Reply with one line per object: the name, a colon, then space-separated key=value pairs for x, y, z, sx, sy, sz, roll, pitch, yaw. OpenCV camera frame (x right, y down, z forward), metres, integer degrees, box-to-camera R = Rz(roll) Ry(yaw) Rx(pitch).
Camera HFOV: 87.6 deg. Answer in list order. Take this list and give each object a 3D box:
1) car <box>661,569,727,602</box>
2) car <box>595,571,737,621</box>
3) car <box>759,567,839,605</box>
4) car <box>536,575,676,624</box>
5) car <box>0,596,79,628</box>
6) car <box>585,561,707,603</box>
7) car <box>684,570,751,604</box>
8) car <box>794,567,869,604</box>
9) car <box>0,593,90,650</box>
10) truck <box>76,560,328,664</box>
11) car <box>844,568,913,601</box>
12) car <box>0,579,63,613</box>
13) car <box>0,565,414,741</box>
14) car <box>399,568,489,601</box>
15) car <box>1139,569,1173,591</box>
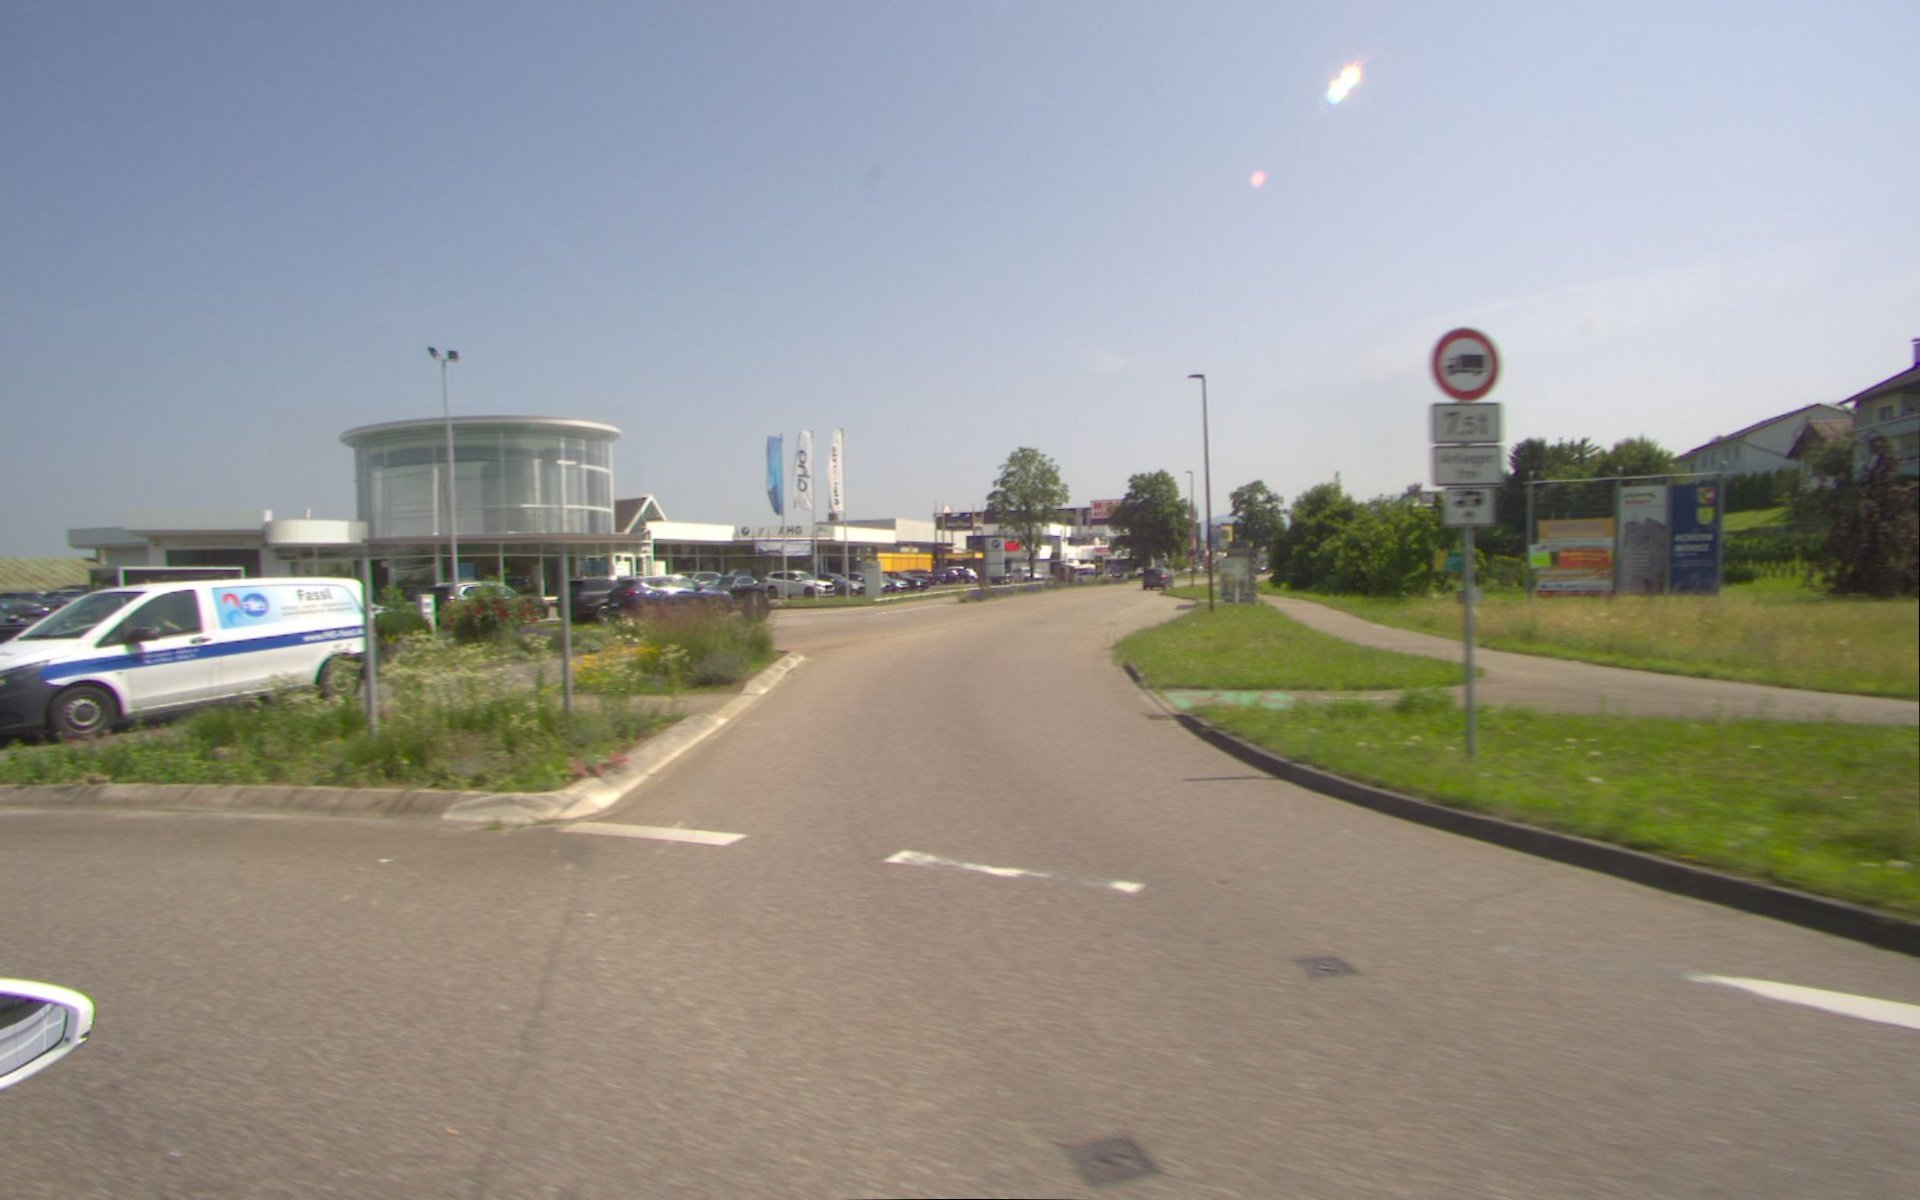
car: x=-14.482 y=-0.790 z=54.703 sx=1.555 sy=1.676 sz=3.688 roll=-2 pitch=0 yaw=21
car: x=-10.224 y=-0.178 z=35.006 sx=4.325 sy=1.533 sz=1.893 roll=-4 pitch=3 yaw=-40
car: x=-9.637 y=-0.823 z=59.963 sx=4.190 sy=2.040 sz=1.994 roll=-3 pitch=1 yaw=22
car: x=-12.660 y=-0.064 z=35.920 sx=4.325 sy=1.533 sz=1.893 roll=-4 pitch=3 yaw=-40
car: x=-40.992 y=0.537 z=43.748 sx=3.279 sy=1.293 sz=1.656 roll=-2 pitch=2 yaw=-8
car: x=-12.730 y=-0.759 z=40.771 sx=4.325 sy=1.533 sz=1.893 roll=-4 pitch=3 yaw=-40
car: x=-12.682 y=-0.697 z=52.550 sx=1.555 sy=1.676 sz=3.688 roll=-2 pitch=0 yaw=21
car: x=-8.087 y=-0.903 z=63.067 sx=4.190 sy=2.040 sz=1.994 roll=-3 pitch=1 yaw=22
car: x=-29.808 y=0.758 z=30.587 sx=1.915 sy=1.521 sz=4.413 roll=-2 pitch=4 yaw=18
truck: x=-22.066 y=0.232 z=29.538 sx=1.917 sy=2.702 sz=5.607 roll=-1 pitch=3 yaw=23
car: x=-5.605 y=-1.032 z=68.738 sx=4.190 sy=2.040 sz=1.994 roll=-3 pitch=1 yaw=22
car: x=-45.477 y=-0.142 z=47.106 sx=1.917 sy=1.543 sz=4.453 roll=-1 pitch=2 yaw=22
car: x=-10.559 y=0.579 z=13.839 sx=1.830 sy=1.963 sz=5.213 roll=-2 pitch=0 yaw=23
car: x=-28.065 y=-0.875 z=54.556 sx=1.878 sy=1.608 sz=4.027 roll=-1 pitch=2 yaw=23
car: x=14.271 y=-1.477 z=72.801 sx=1.743 sy=1.504 sz=4.028 roll=-1 pitch=2 yaw=21
